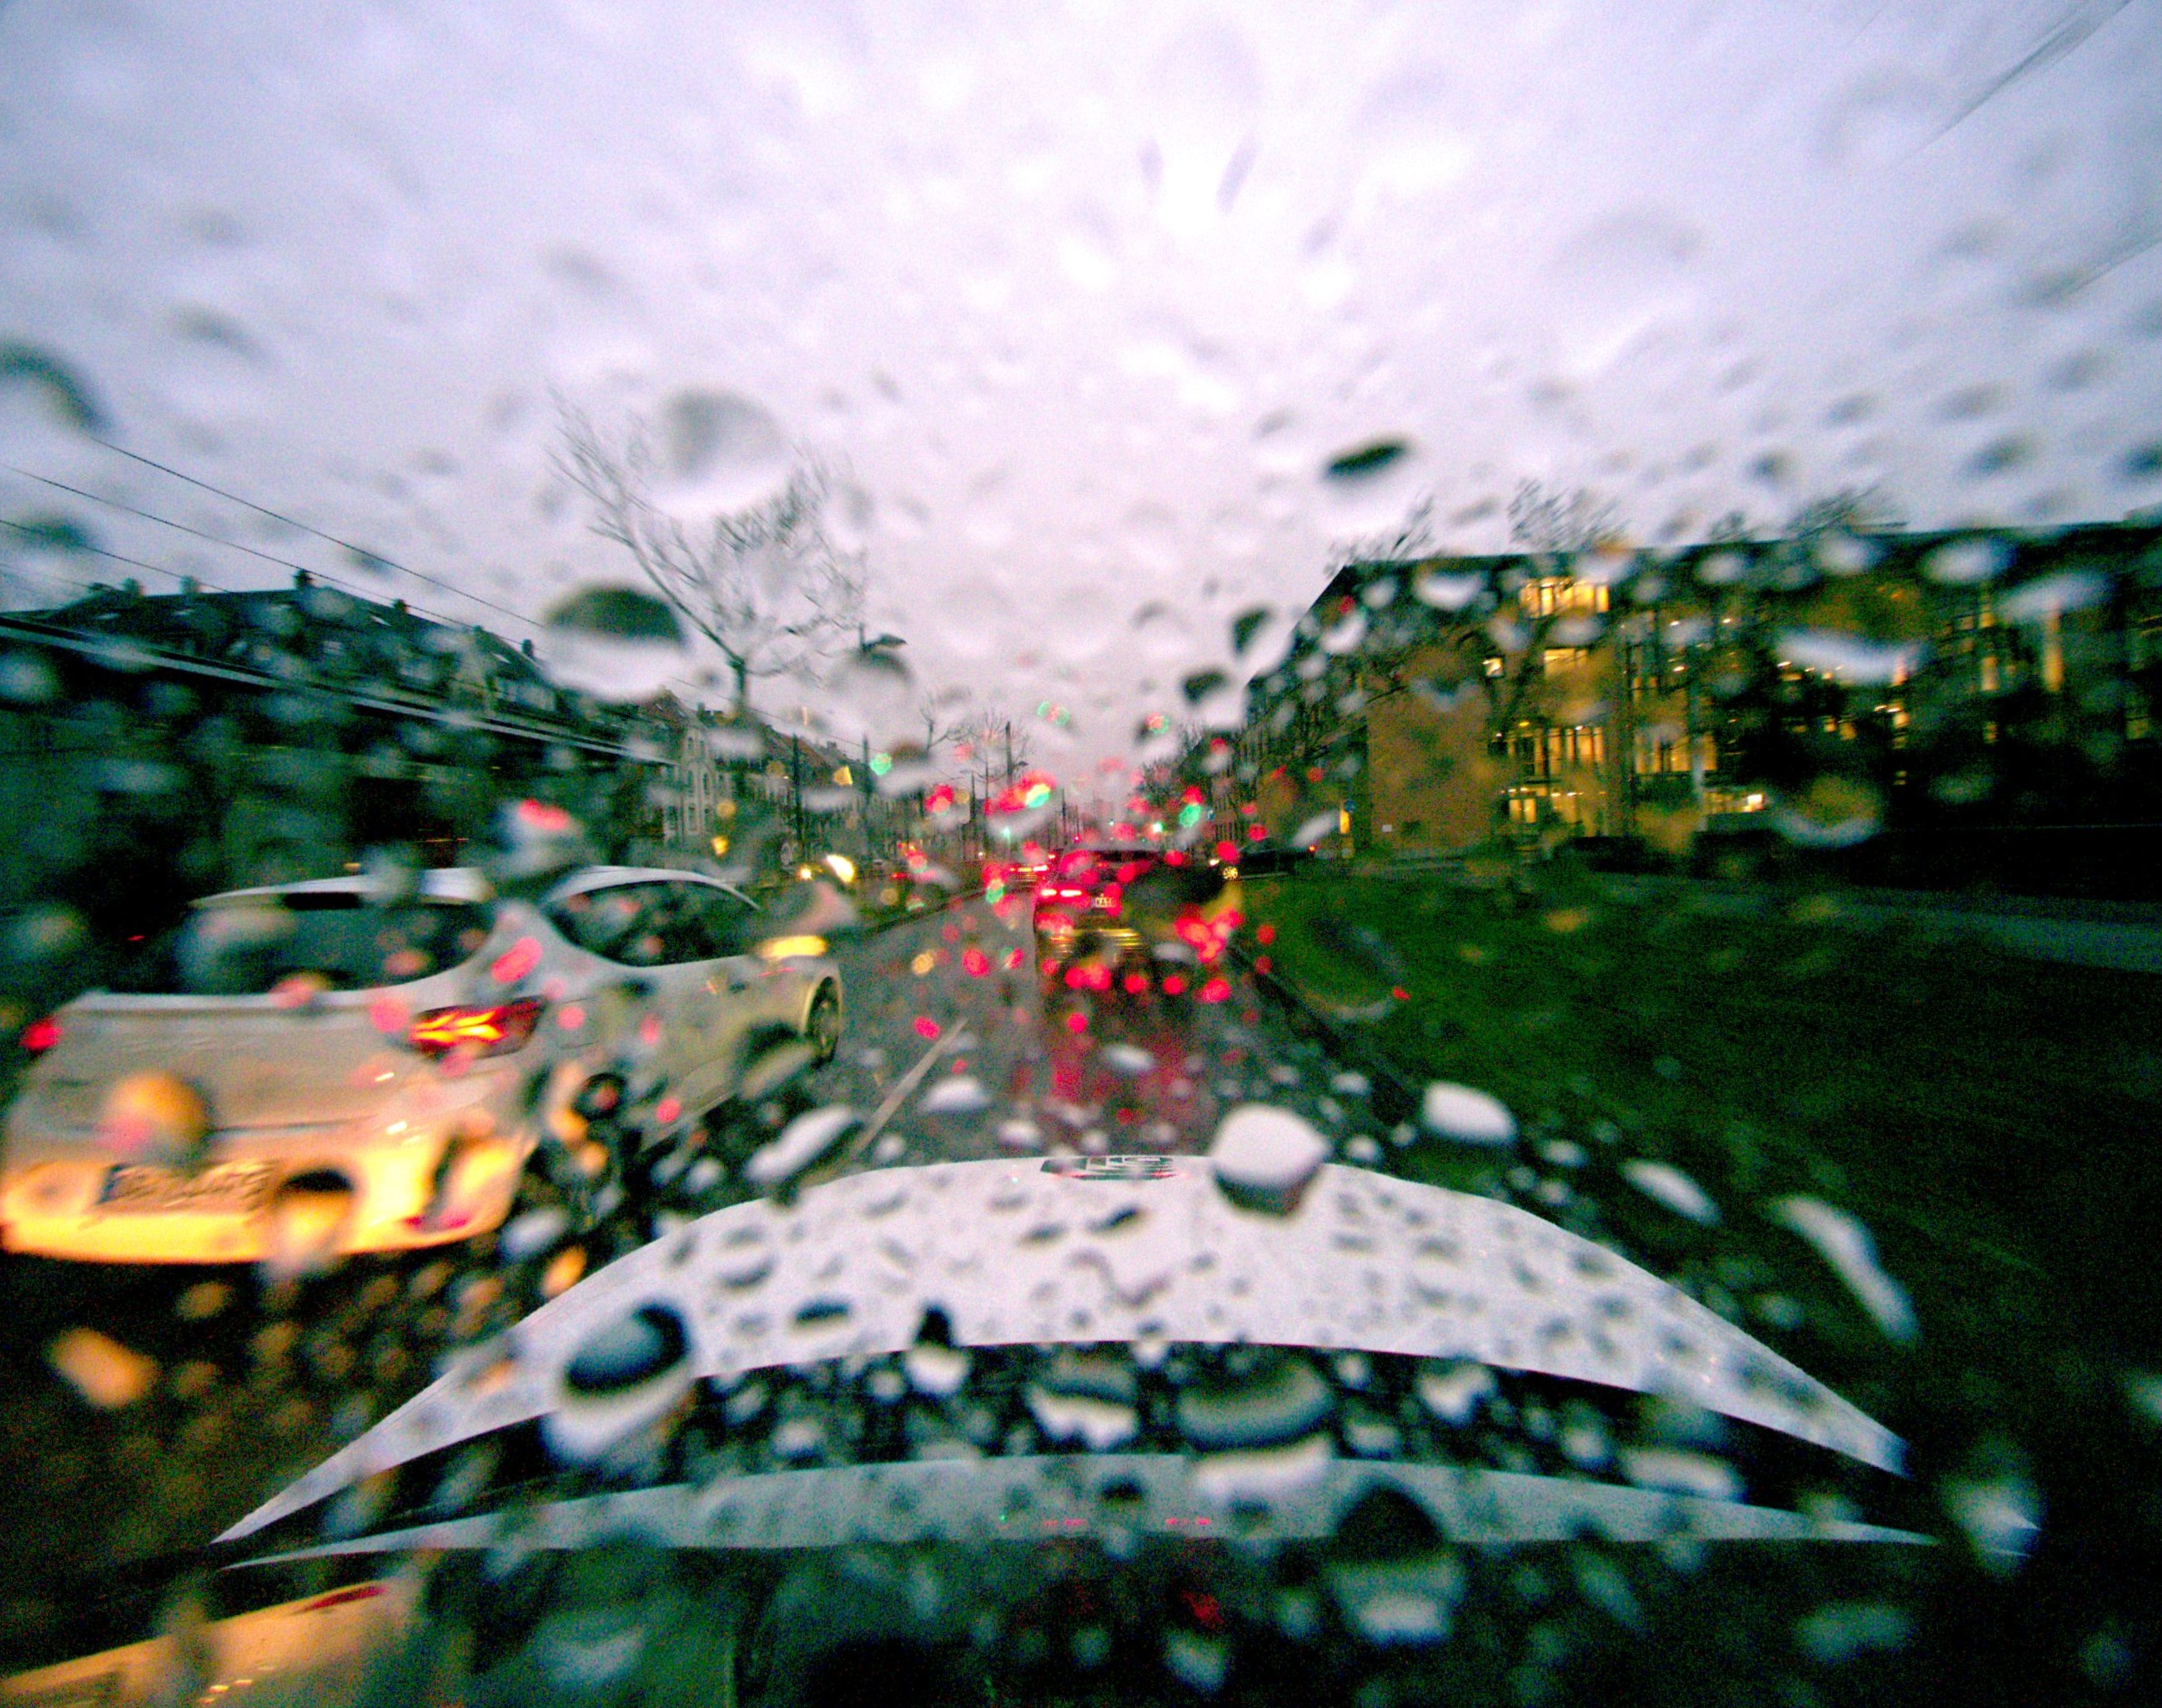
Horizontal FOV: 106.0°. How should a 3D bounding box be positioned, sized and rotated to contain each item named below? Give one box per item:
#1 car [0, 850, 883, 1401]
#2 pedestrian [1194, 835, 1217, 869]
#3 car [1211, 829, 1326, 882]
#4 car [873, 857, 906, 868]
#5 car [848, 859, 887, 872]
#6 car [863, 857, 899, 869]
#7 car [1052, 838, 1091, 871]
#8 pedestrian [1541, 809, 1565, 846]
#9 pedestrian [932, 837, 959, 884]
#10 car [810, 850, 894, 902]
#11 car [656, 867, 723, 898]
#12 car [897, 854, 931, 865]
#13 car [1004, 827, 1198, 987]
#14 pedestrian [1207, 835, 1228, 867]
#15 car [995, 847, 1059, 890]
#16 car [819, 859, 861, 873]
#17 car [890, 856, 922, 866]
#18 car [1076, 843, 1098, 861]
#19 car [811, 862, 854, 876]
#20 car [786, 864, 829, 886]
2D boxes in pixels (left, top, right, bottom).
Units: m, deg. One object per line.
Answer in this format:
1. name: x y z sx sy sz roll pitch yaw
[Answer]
1. car: -2.545 0.798 4.350 1.619 1.487 4.006 -3 1 5
2. pedestrian: 6.089 -0.079 39.819 0.893 1.596 0.505 -3 0 44
3. car: 6.934 0.047 30.420 3.844 1.560 1.767 -5 0 3
4. car: -24.590 1.040 104.662 3.753 1.156 1.653 -3 0 7
5. car: -24.009 1.262 91.710 3.753 1.156 1.653 -3 0 7
6. car: -24.015 1.073 97.932 3.753 1.156 1.653 -3 0 7
7. car: -0.520 0.007 48.285 1.986 1.765 4.002 -3 0 2
8. pedestrian: 21.193 -1.191 36.553 0.628 1.637 0.738 -3 0 8
9. pedestrian: -4.668 0.223 28.148 0.696 1.552 0.669 -3 0 2
10. car: -9.063 0.820 32.540 1.986 1.823 4.002 -4 0 2
11. car: -21.261 1.531 44.398 1.648 1.398 3.769 -3 0 2
12. car: -22.756 0.726 110.862 3.964 1.227 2.005 -3 0 9
13. car: 0.296 0.545 10.686 1.983 1.616 4.003 -3 0 2
14. pedestrian: 7.050 -0.160 42.070 0.893 1.596 0.505 -3 0 44
15. car: -1.982 0.504 30.989 1.986 1.398 4.001 -3 1 1
16. car: -24.947 1.275 84.444 3.753 1.156 1.653 -3 0 7
17. car: -23.140 0.939 107.726 3.753 1.156 1.653 -3 0 7
18. car: 0.593 -0.224 80.416 1.986 1.618 4.002 -3 0 2
19. car: -24.857 1.526 81.543 3.753 1.156 1.653 -3 0 7
20. car: -19.967 1.512 59.610 1.648 1.398 3.769 -3 0 2
